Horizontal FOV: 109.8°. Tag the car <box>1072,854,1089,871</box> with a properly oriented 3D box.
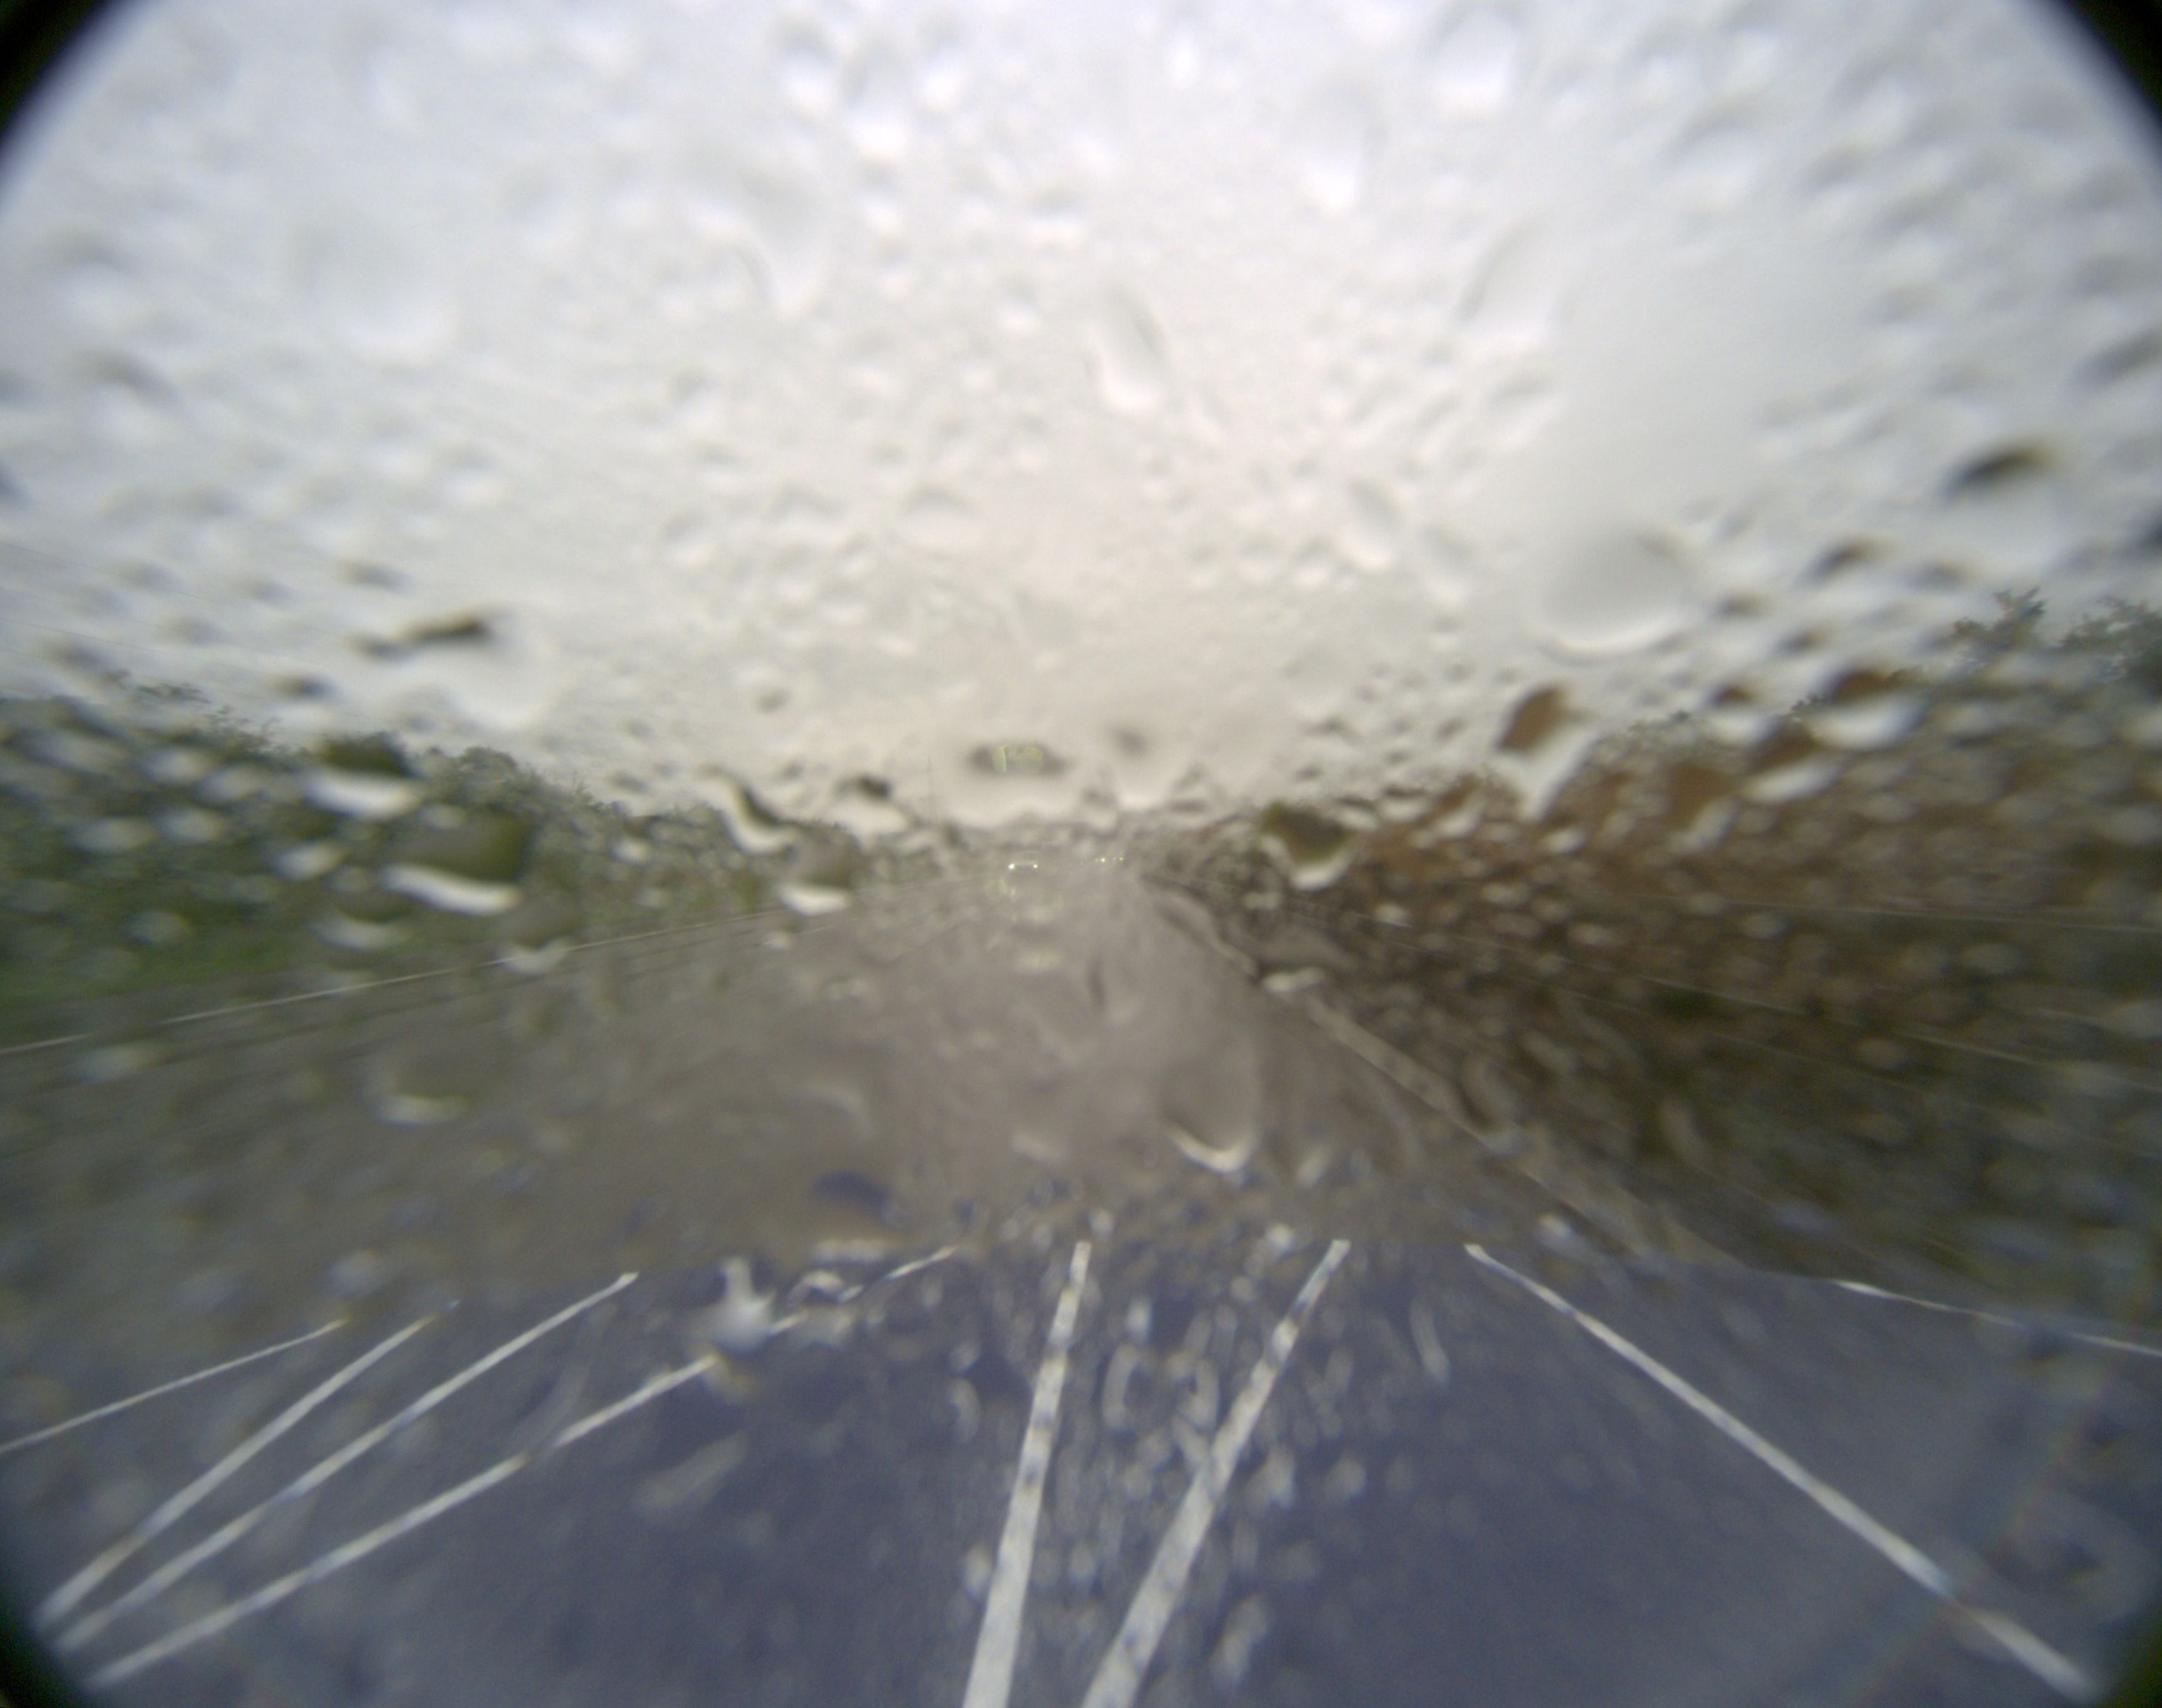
[{"bbox_3d":[-0.092,1.107,100.967,1.999,2.002,3.999,-2,0,-2],"label":"car"}]

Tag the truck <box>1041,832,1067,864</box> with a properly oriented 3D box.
[{"bbox_3d":[-4.068,-0.956,117.298,3.136,4.642,11.403,-2,0,1],"label":"truck"}]

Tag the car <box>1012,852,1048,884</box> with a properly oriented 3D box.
[{"bbox_3d":[-3.478,0.937,52.633,1.998,2.002,4.000,-3,0,1],"label":"car"}]
